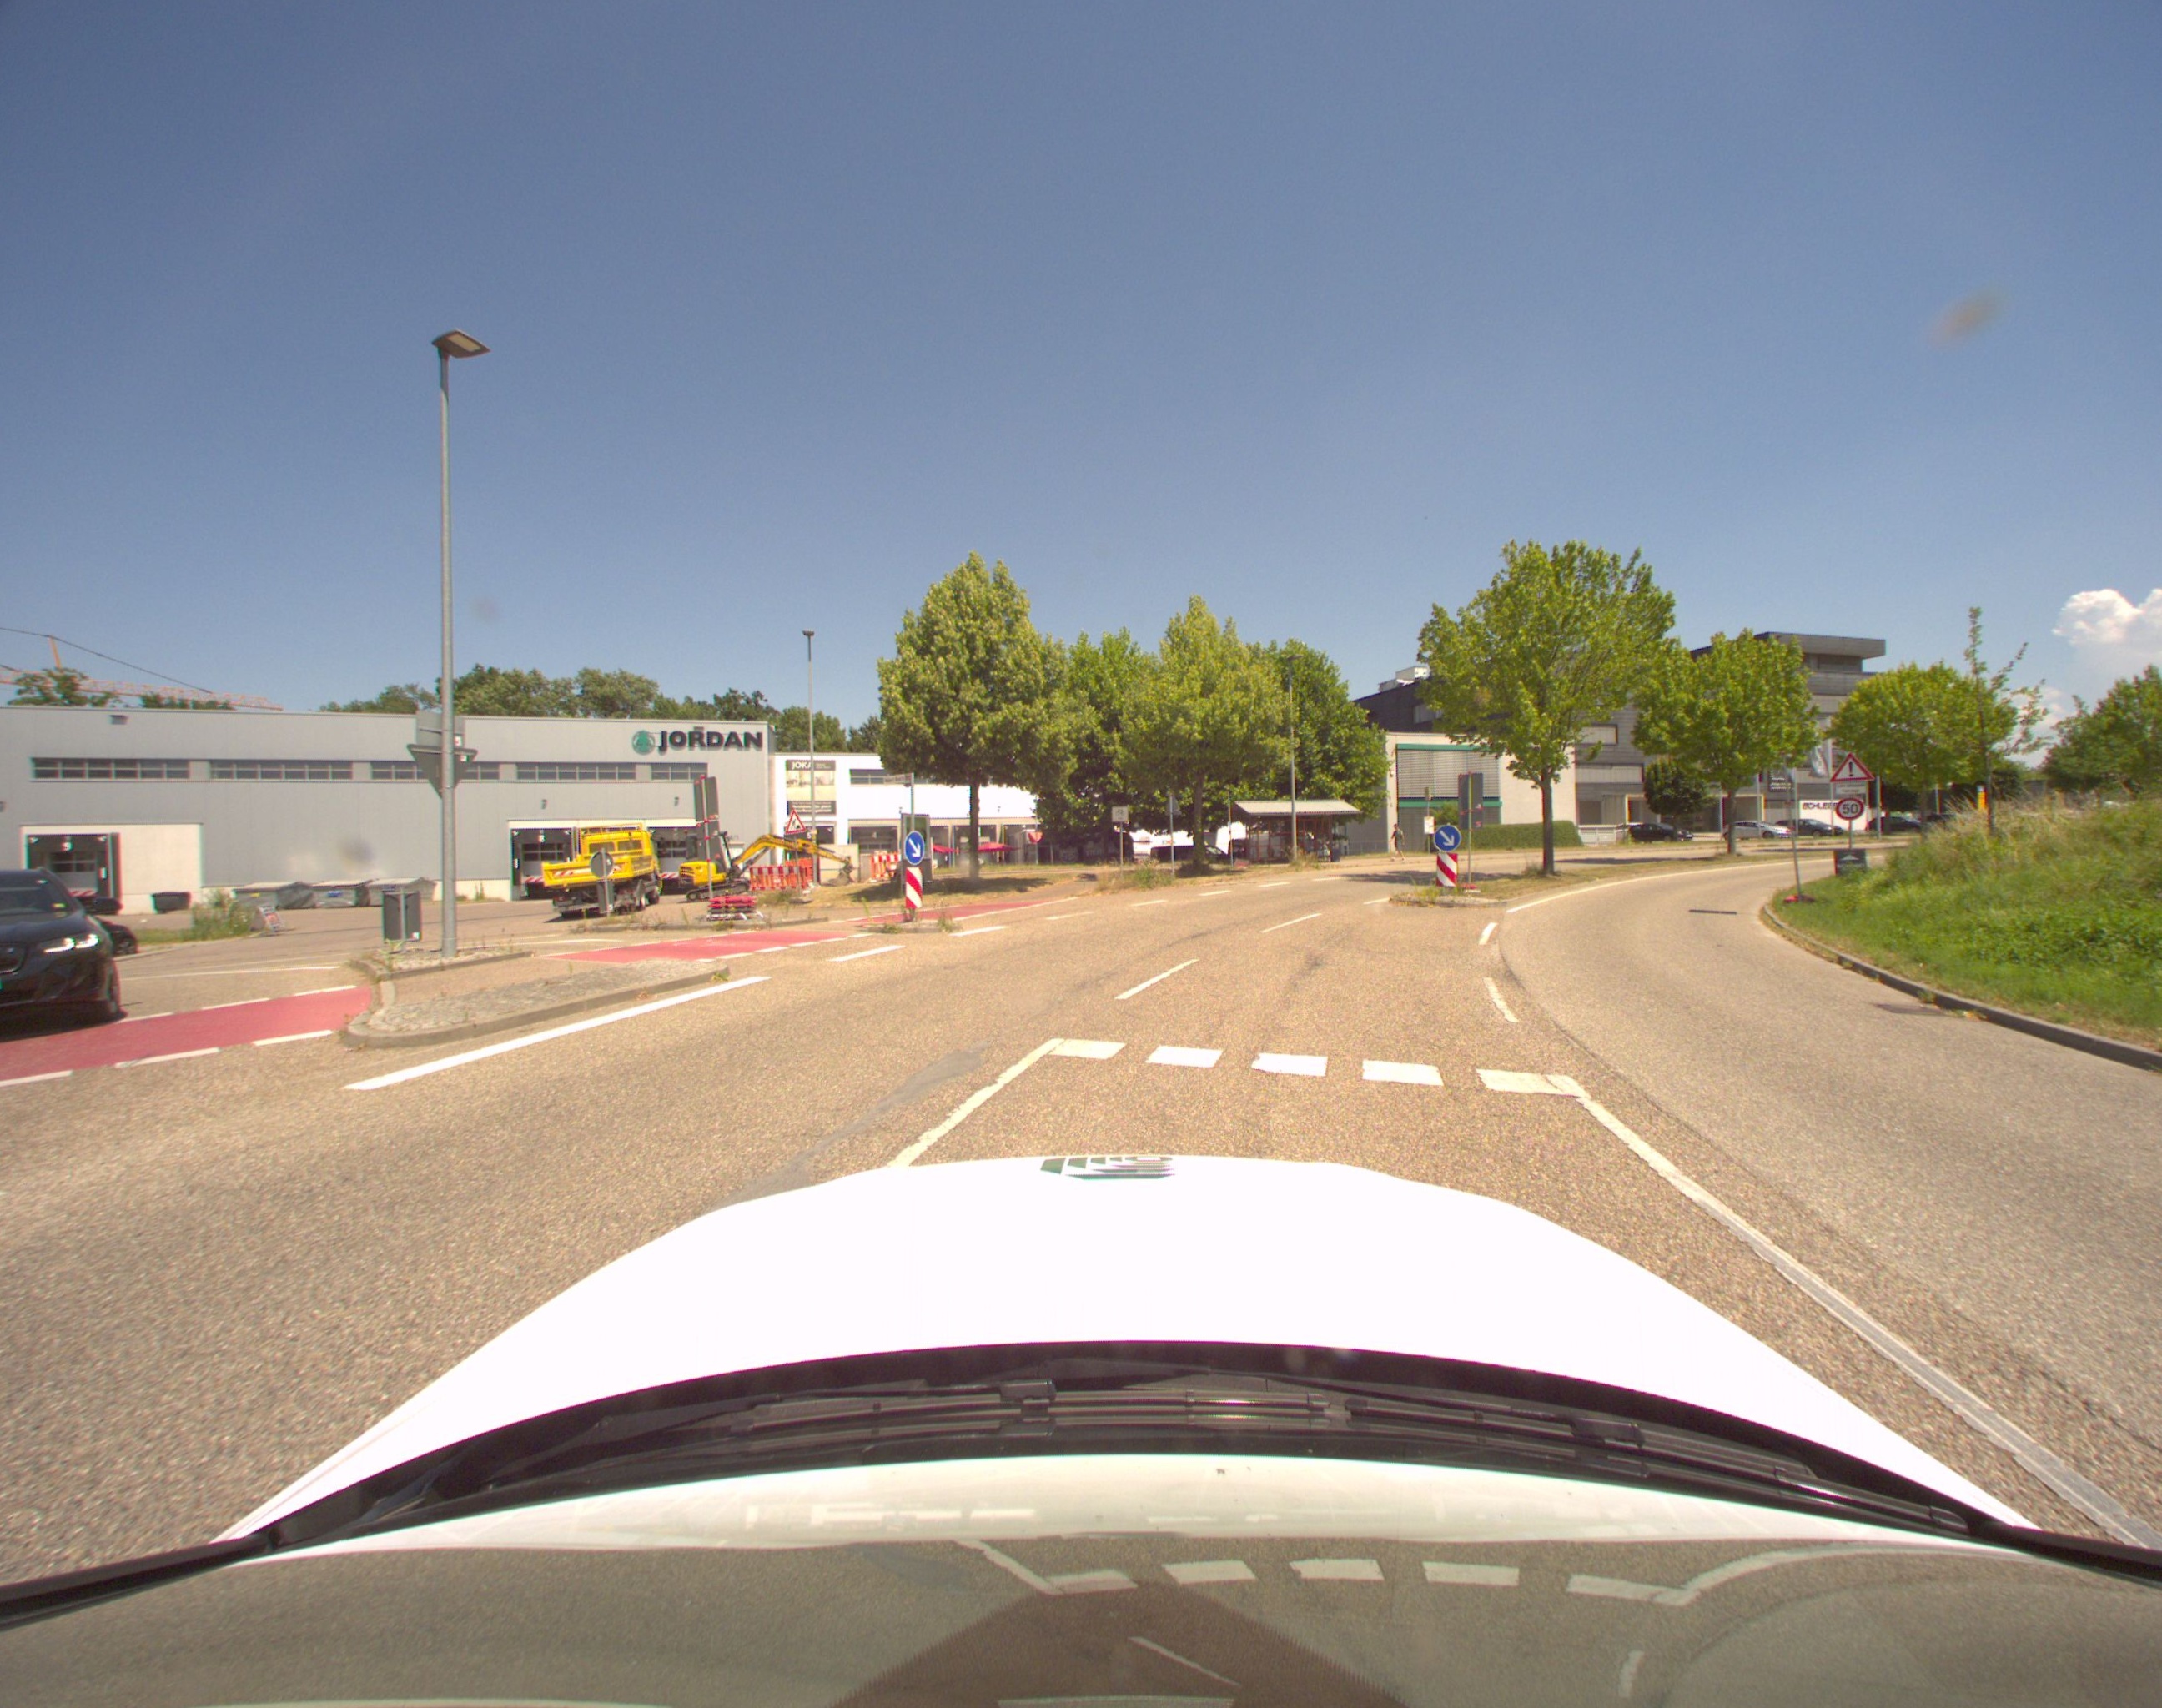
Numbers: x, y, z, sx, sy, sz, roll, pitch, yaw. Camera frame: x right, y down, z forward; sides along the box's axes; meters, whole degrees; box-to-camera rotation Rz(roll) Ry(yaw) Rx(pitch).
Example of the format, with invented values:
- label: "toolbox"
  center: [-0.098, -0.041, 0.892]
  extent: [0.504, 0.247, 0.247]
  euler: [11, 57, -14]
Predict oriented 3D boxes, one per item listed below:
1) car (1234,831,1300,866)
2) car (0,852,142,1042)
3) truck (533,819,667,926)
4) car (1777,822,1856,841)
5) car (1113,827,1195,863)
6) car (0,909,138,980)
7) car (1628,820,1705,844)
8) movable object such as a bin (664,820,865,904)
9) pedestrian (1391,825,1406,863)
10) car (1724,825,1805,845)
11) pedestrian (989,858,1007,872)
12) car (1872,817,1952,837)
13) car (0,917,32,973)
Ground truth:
- label: "car"
  center: [11.200, -0.281, 49.268]
  extent: [1.552, 2.014, 4.228]
  euler: [1, -2, -26]
- label: "car"
  center: [-11.493, 0.972, 8.511]
  extent: [4.539, 1.634, 1.883]
  euler: [-4, 2, 38]
- label: "truck"
  center: [-16.472, 0.462, 28.397]
  extent: [2.596, 3.135, 6.383]
  euler: [-5, 3, -19]
- label: "car"
  center: [53.103, -1.610, 58.894]
  extent: [1.704, 1.182, 3.870]
  euler: [-3, 0, -17]
- label: "car"
  center: [3.900, -0.483, 43.691]
  extent: [3.993, 1.728, 1.832]
  euler: [-3, 0, -14]
- label: "car"
  center: [-28.549, 2.467, 22.357]
  extent: [1.625, 1.462, 3.654]
  euler: [-4, 2, -15]
- label: "car"
  center: [38.800, -1.454, 54.038]
  extent: [1.704, 1.379, 3.896]
  euler: [-3, 0, -17]
- label: "movable object such as a bin"
  center: [-11.594, 0.259, 30.382]
  extent: [6.560, 2.581, 1.992]
  euler: [-4, 0, -11]
- label: "pedestrian"
  center: [14.168, -0.439, 36.351]
  extent: [0.525, 1.670, 0.581]
  euler: [0, -2, 12]
- label: "car"
  center: [47.985, -1.302, 57.319]
  extent: [1.492, 1.183, 4.252]
  euler: [0, -2, -16]
- label: "pedestrian"
  center: [-4.363, 0.569, 42.785]
  extent: [0.859, 0.695, 0.409]
  euler: [-3, 0, 7]
- label: "car"
  center: [62.252, -1.994, 61.071]
  extent: [1.704, 1.274, 3.870]
  euler: [-3, 0, -17]
- label: "car"
  center: [-30.951, 2.645, 21.789]
  extent: [1.590, 1.507, 3.760]
  euler: [-3, 1, -17]
